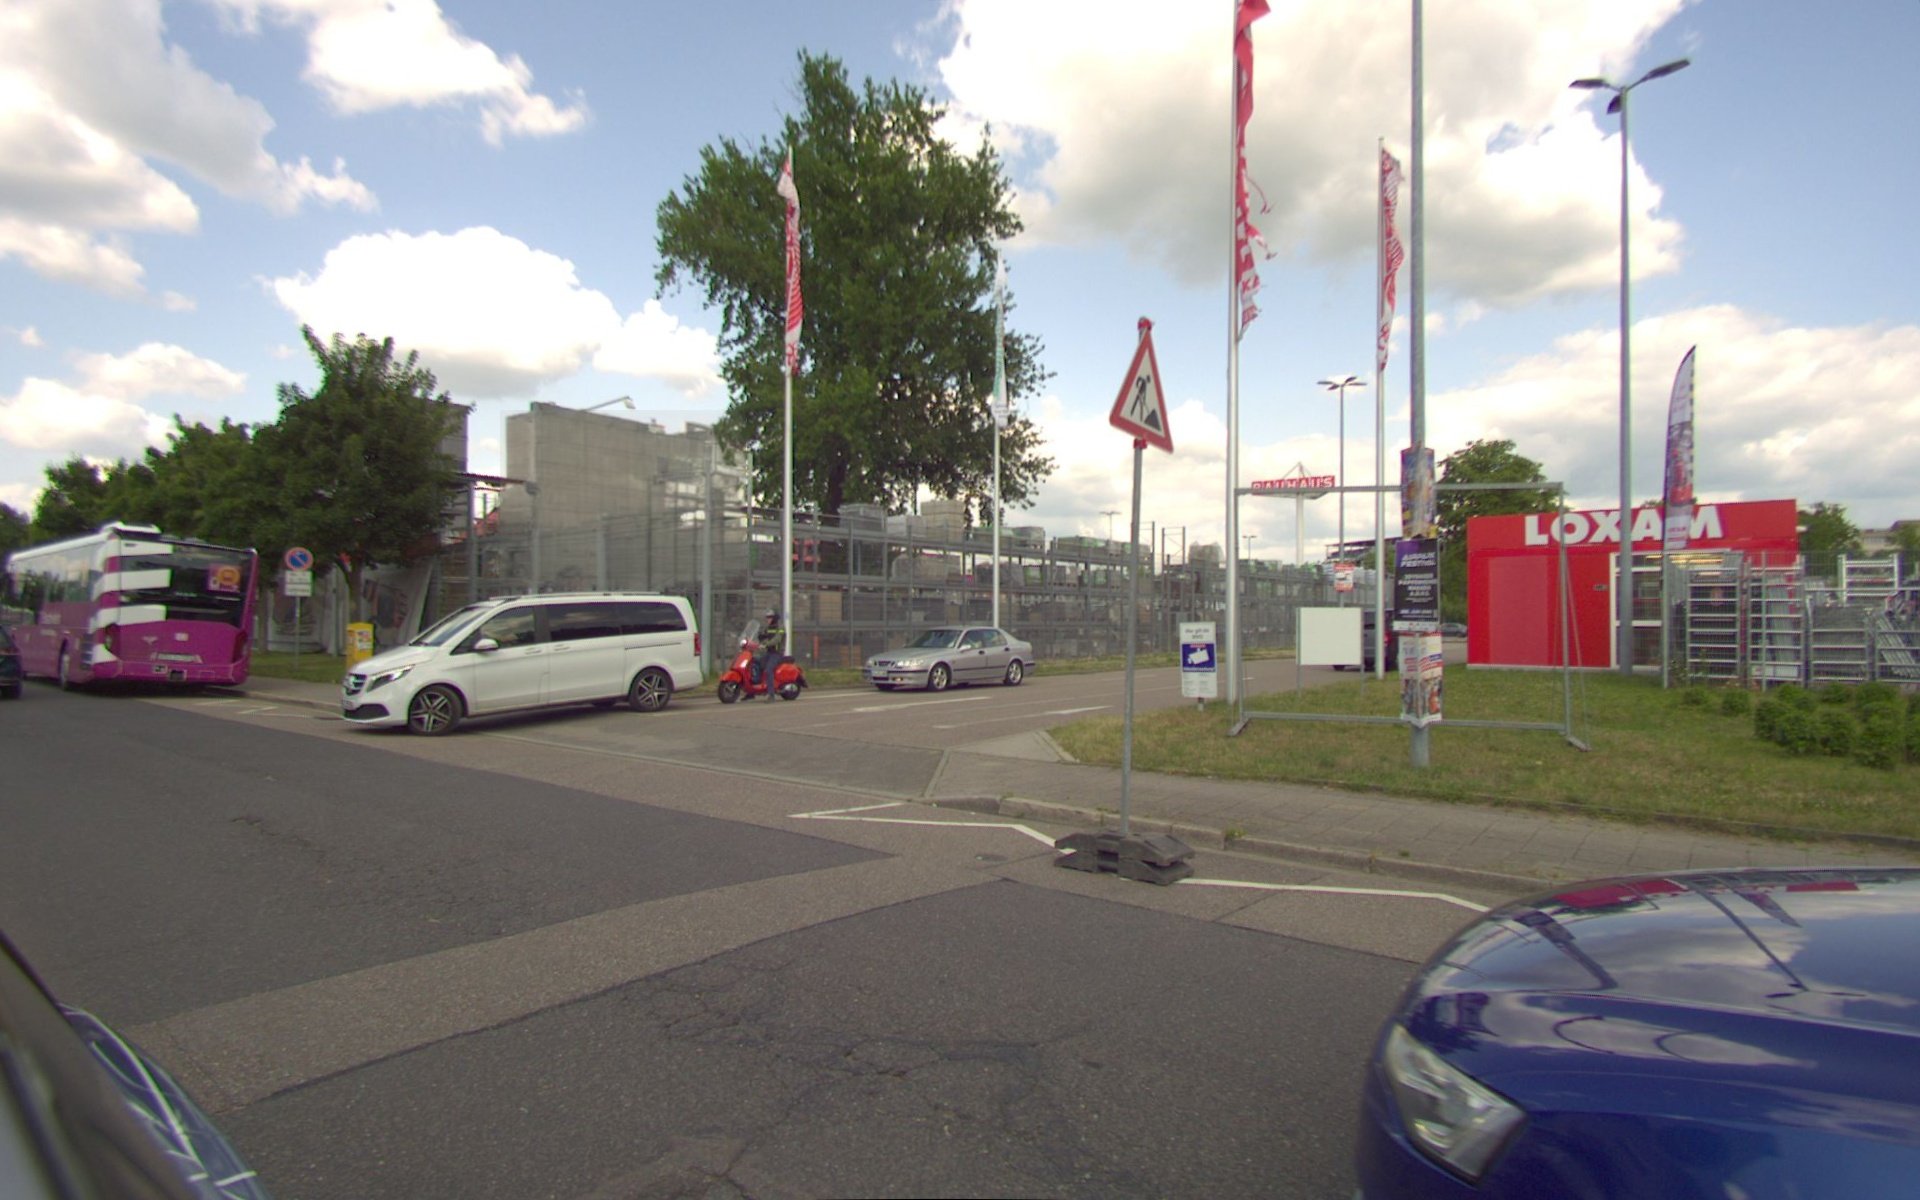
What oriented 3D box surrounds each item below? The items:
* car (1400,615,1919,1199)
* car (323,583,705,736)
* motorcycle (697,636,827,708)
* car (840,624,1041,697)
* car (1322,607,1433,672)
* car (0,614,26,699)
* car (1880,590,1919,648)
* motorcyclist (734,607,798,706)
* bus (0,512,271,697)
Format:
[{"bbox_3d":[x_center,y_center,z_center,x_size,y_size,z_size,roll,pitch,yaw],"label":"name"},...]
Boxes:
[{"bbox_3d":[2.916,0.698,0.778,4.376,1.387,1.903,-1,-2,40],"label":"car"},{"bbox_3d":[-6.583,0.811,15.400,1.993,1.964,4.943,-2,-2,45],"label":"car"},{"bbox_3d":[-3.570,1.265,18.419,0.993,1.223,2.198,-1,-2,40],"label":"motorcycle"},{"bbox_3d":[-0.325,1.266,22.655,1.953,1.465,4.635,-1,-2,40],"label":"car"},{"bbox_3d":[12.989,1.170,31.331,2.107,1.859,4.501,-1,-2,37],"label":"car"},{"bbox_3d":[-18.794,1.003,18.538,4.379,1.470,1.779,-1,-3,38],"label":"car"},{"bbox_3d":[42.426,0.842,41.736,6.432,2.433,2.244,1,0,39],"label":"car"},{"bbox_3d":[-3.536,1.012,18.462,0.994,1.736,0.667,-1,-2,40],"label":"motorcyclist"},{"bbox_3d":[-20.296,0.256,24.140,13.206,3.449,2.636,-1,-5,40],"label":"bus"}]
